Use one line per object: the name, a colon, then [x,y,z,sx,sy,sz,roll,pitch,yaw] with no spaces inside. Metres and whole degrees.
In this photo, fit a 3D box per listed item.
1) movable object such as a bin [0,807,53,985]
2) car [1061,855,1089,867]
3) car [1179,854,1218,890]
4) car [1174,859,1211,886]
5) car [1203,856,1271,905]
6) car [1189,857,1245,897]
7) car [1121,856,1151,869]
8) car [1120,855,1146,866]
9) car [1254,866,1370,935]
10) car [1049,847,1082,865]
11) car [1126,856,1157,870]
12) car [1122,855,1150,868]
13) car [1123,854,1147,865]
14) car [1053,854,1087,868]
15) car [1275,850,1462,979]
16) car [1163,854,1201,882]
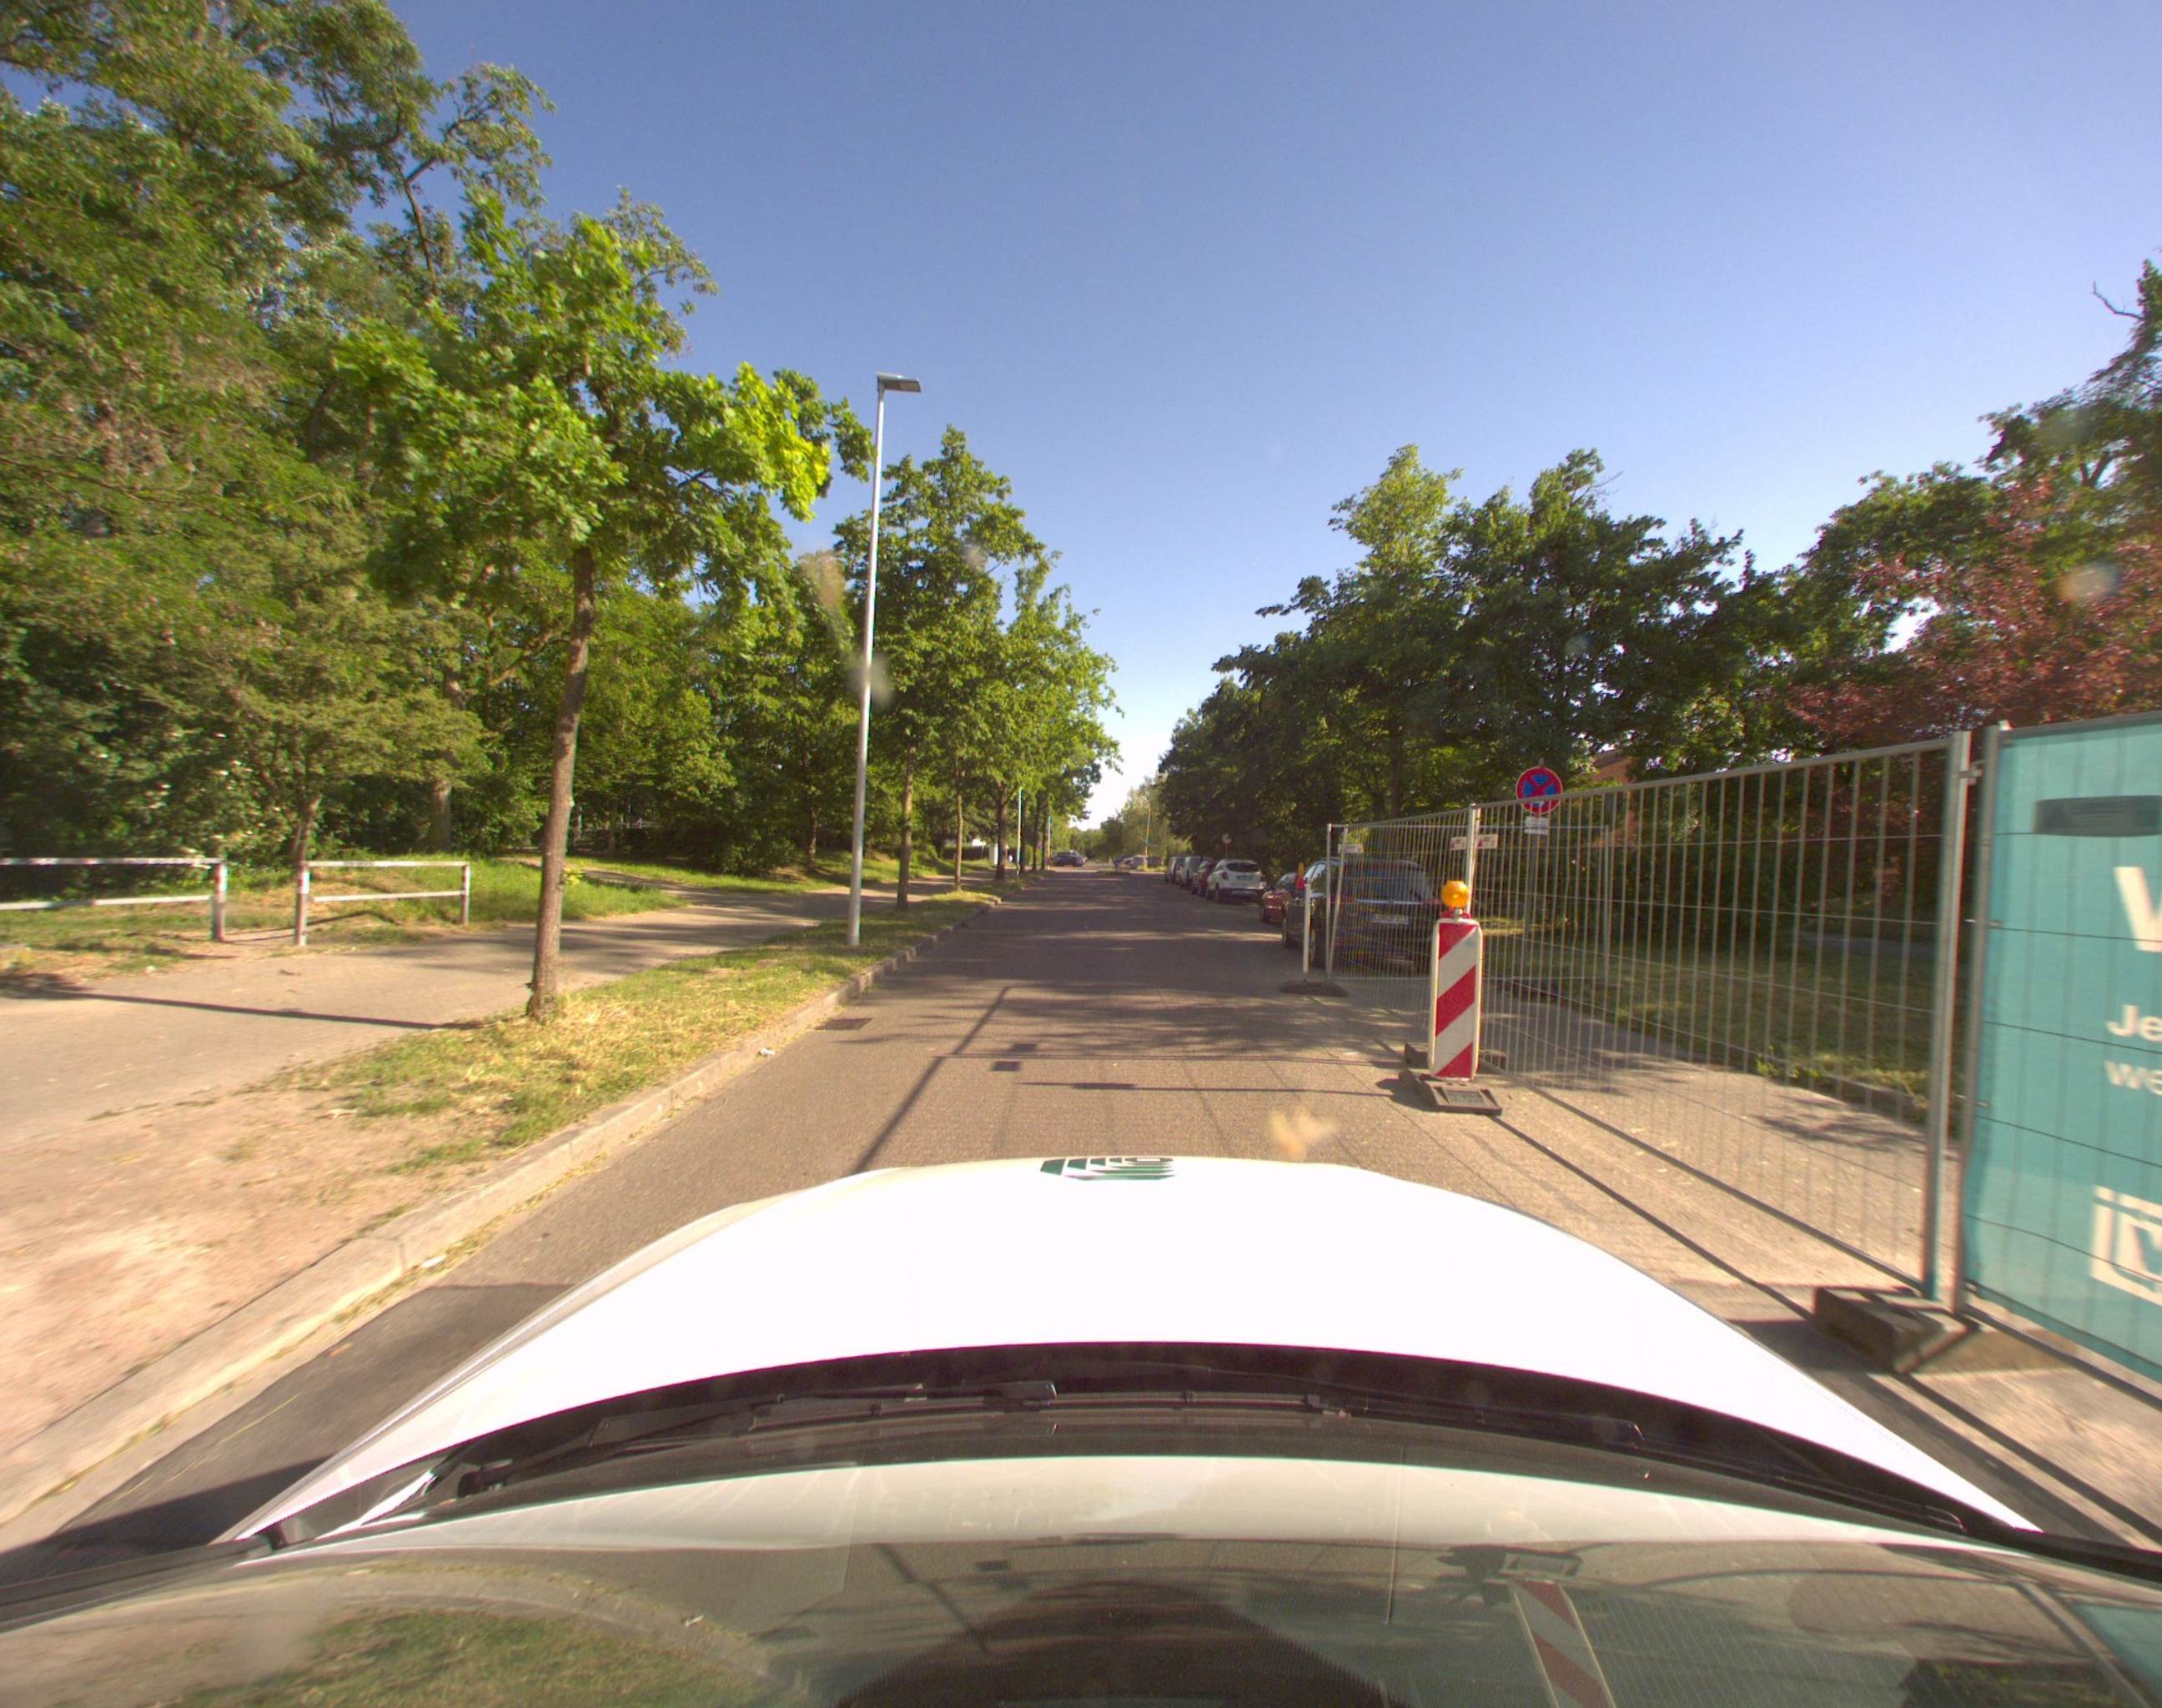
movable object such as a bin: [-9.248,0.331,6.347,1.149,1.435,1.260,1,0,-33]
car: [-0.916,1.117,125.864,4.090,1.576,1.960,3,0,3]
car: [6.335,0.945,44.182,1.617,1.773,3.670,3,0,1]
car: [6.692,1.089,49.375,1.685,1.512,4.207,3,0,1]
car: [5.863,0.947,31.035,1.770,1.621,4.064,3,0,0]
car: [5.998,0.974,36.403,1.770,1.621,4.064,3,0,0]
car: [7.270,1.113,107.756,3.817,1.576,1.692,3,0,7]
car: [8.336,1.039,130.362,3.817,1.576,1.692,3,0,7]
car: [5.464,1.038,19.783,1.655,1.375,4.155,3,0,1]
car: [-2.628,0.333,134.840,5.189,2.621,2.290,3,0,-4]
car: [7.857,1.185,104.923,3.817,1.576,1.692,3,0,7]
car: [7.836,1.076,115.558,3.817,1.576,1.692,3,0,7]
car: [8.834,0.845,133.489,3.820,1.576,1.691,3,0,5]
car: [-1.472,0.930,109.563,4.294,1.576,2.050,3,0,7]
car: [4.456,0.838,13.367,1.801,1.651,4.427,3,0,5]
car: [6.817,0.919,55.523,1.786,1.785,4.553,3,0,-2]
